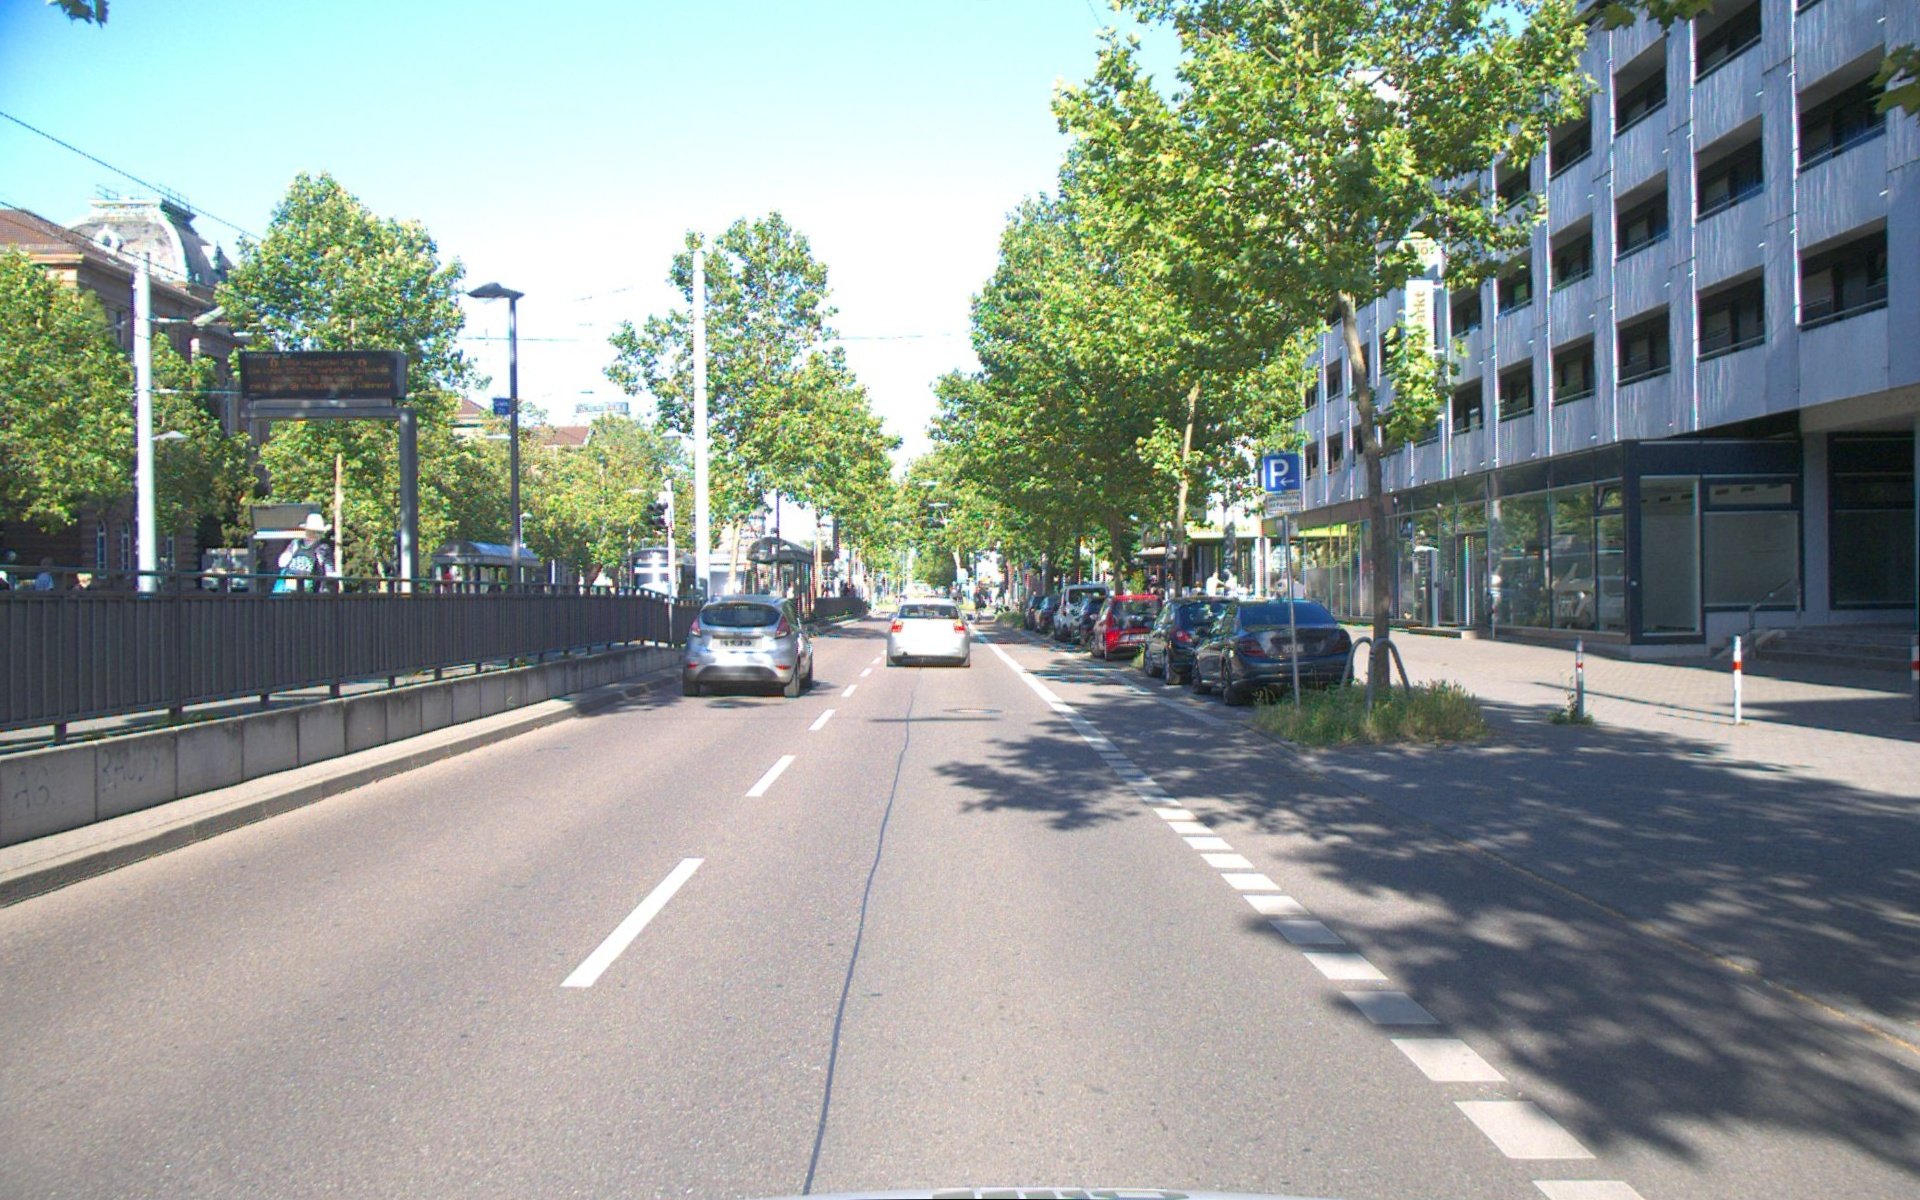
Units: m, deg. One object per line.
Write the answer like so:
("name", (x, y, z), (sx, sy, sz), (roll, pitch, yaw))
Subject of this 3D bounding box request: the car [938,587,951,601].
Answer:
("car", (-2.305, -0.877, 253.081), (1.953, 2.049, 4.000), (1, 1, 0))

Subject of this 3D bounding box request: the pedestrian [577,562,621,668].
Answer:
("pedestrian", (-6.905, 0.283, 31.664), (0.626, 1.988, 0.813), (1, 0, -1))

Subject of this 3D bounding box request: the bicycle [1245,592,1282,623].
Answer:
("bicycle", (11.536, 0.285, 62.877), (1.355, 1.168, 0.243), (1, 0, -2))

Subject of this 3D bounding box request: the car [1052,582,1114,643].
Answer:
("car", (4.062, 0.407, 54.987), (1.689, 1.913, 4.000), (1, 0, 0))

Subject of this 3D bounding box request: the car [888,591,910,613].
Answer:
("car", (-6.052, 0.161, 164.452), (1.953, 2.049, 4.000), (1, 1, 0))

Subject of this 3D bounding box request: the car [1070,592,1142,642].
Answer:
("car", (4.314, 0.497, 49.350), (1.744, 1.405, 3.999), (1, 0, 0))

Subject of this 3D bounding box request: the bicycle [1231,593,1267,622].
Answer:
("bicycle", (11.378, 0.284, 65.150), (1.355, 1.117, 0.243), (1, 0, -2))

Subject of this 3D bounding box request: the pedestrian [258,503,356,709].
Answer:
("pedestrian", (-6.524, 0.054, 16.551), (0.626, 1.988, 0.813), (1, 0, -1))

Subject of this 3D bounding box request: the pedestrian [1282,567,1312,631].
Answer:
("pedestrian", (10.945, -0.036, 53.736), (0.772, 2.049, 0.891), (-1, 0, 0))

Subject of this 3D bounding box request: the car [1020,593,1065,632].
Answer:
("car", (3.527, 0.516, 71.074), (1.666, 1.561, 3.716), (1, 1, 0))

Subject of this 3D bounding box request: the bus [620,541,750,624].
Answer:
("bus", (-13.857, -0.883, 86.308), (2.810, 3.692, 24.601), (0, 0, 0))

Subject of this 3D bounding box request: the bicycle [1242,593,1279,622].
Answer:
("bicycle", (11.528, 0.304, 63.510), (1.355, 1.077, 0.243), (1, 0, -2))

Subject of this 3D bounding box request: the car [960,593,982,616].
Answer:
("car", (1.042, 0.415, 158.482), (1.953, 2.049, 4.000), (1, 1, 0))

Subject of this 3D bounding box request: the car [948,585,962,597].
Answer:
("car", (-0.759, -1.313, 237.636), (1.953, 1.728, 4.000), (-1, 0, 0))

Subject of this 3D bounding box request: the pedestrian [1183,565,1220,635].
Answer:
("pedestrian", (7.225, -0.002, 49.535), (0.944, 2.049, 0.938), (-1, 0, -1))

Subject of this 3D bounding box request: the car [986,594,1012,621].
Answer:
("car", (2.838, 0.519, 120.250), (1.772, 1.822, 3.911), (1, 1, 0))

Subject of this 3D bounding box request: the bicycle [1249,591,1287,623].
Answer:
("bicycle", (11.582, 0.246, 62.182), (1.355, 1.168, 0.243), (1, 0, -2))

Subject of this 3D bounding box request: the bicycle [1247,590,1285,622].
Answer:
("bicycle", (11.564, 0.241, 62.554), (1.355, 1.168, 0.243), (1, 0, -2))

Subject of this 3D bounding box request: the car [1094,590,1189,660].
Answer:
("car", (4.276, 0.571, 39.495), (1.769, 1.547, 3.999), (1, 0, 0))

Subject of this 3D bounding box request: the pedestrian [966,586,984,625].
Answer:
("pedestrian", (0.802, 0.284, 86.556), (0.820, 2.049, 0.649), (1, 0, 6))

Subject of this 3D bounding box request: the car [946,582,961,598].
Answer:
("car", (-0.820, -1.352, 216.649), (1.953, 2.049, 4.000), (1, 1, 0))

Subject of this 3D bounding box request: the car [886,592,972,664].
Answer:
("car", (-0.670, 0.563, 35.537), (1.726, 1.457, 3.999), (1, 0, -1))

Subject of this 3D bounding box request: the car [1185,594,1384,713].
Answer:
("car", (4.610, 0.724, 24.173), (1.953, 1.535, 4.597), (1, -1, 0))

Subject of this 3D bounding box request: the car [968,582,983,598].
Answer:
("car", (1.960, -1.271, 211.472), (1.837, 2.049, 3.711), (1, 1, 0))

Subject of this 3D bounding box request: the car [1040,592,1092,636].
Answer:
("car", (4.059, 0.514, 63.921), (1.676, 1.590, 4.000), (1, 1, 0))

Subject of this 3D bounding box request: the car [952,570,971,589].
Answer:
("car", (0.160, -2.340, 188.520), (1.953, 2.049, 3.999), (-1, 0, -1))

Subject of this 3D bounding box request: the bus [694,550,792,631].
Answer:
("bus", (-10.978, -0.518, 85.631), (2.694, 3.689, 18.846), (0, 0, 0))

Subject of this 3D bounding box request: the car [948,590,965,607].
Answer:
("car", (-0.443, -0.187, 200.568), (2.029, 2.049, 4.000), (-1, 0, 0))

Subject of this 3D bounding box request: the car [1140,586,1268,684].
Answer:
("car", (4.255, 0.567, 29.415), (1.635, 1.578, 4.000), (1, 1, 0))

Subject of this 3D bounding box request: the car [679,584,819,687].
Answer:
("car", (-3.108, 0.484, 24.940), (1.613, 1.386, 3.759), (1, 1, 0))
